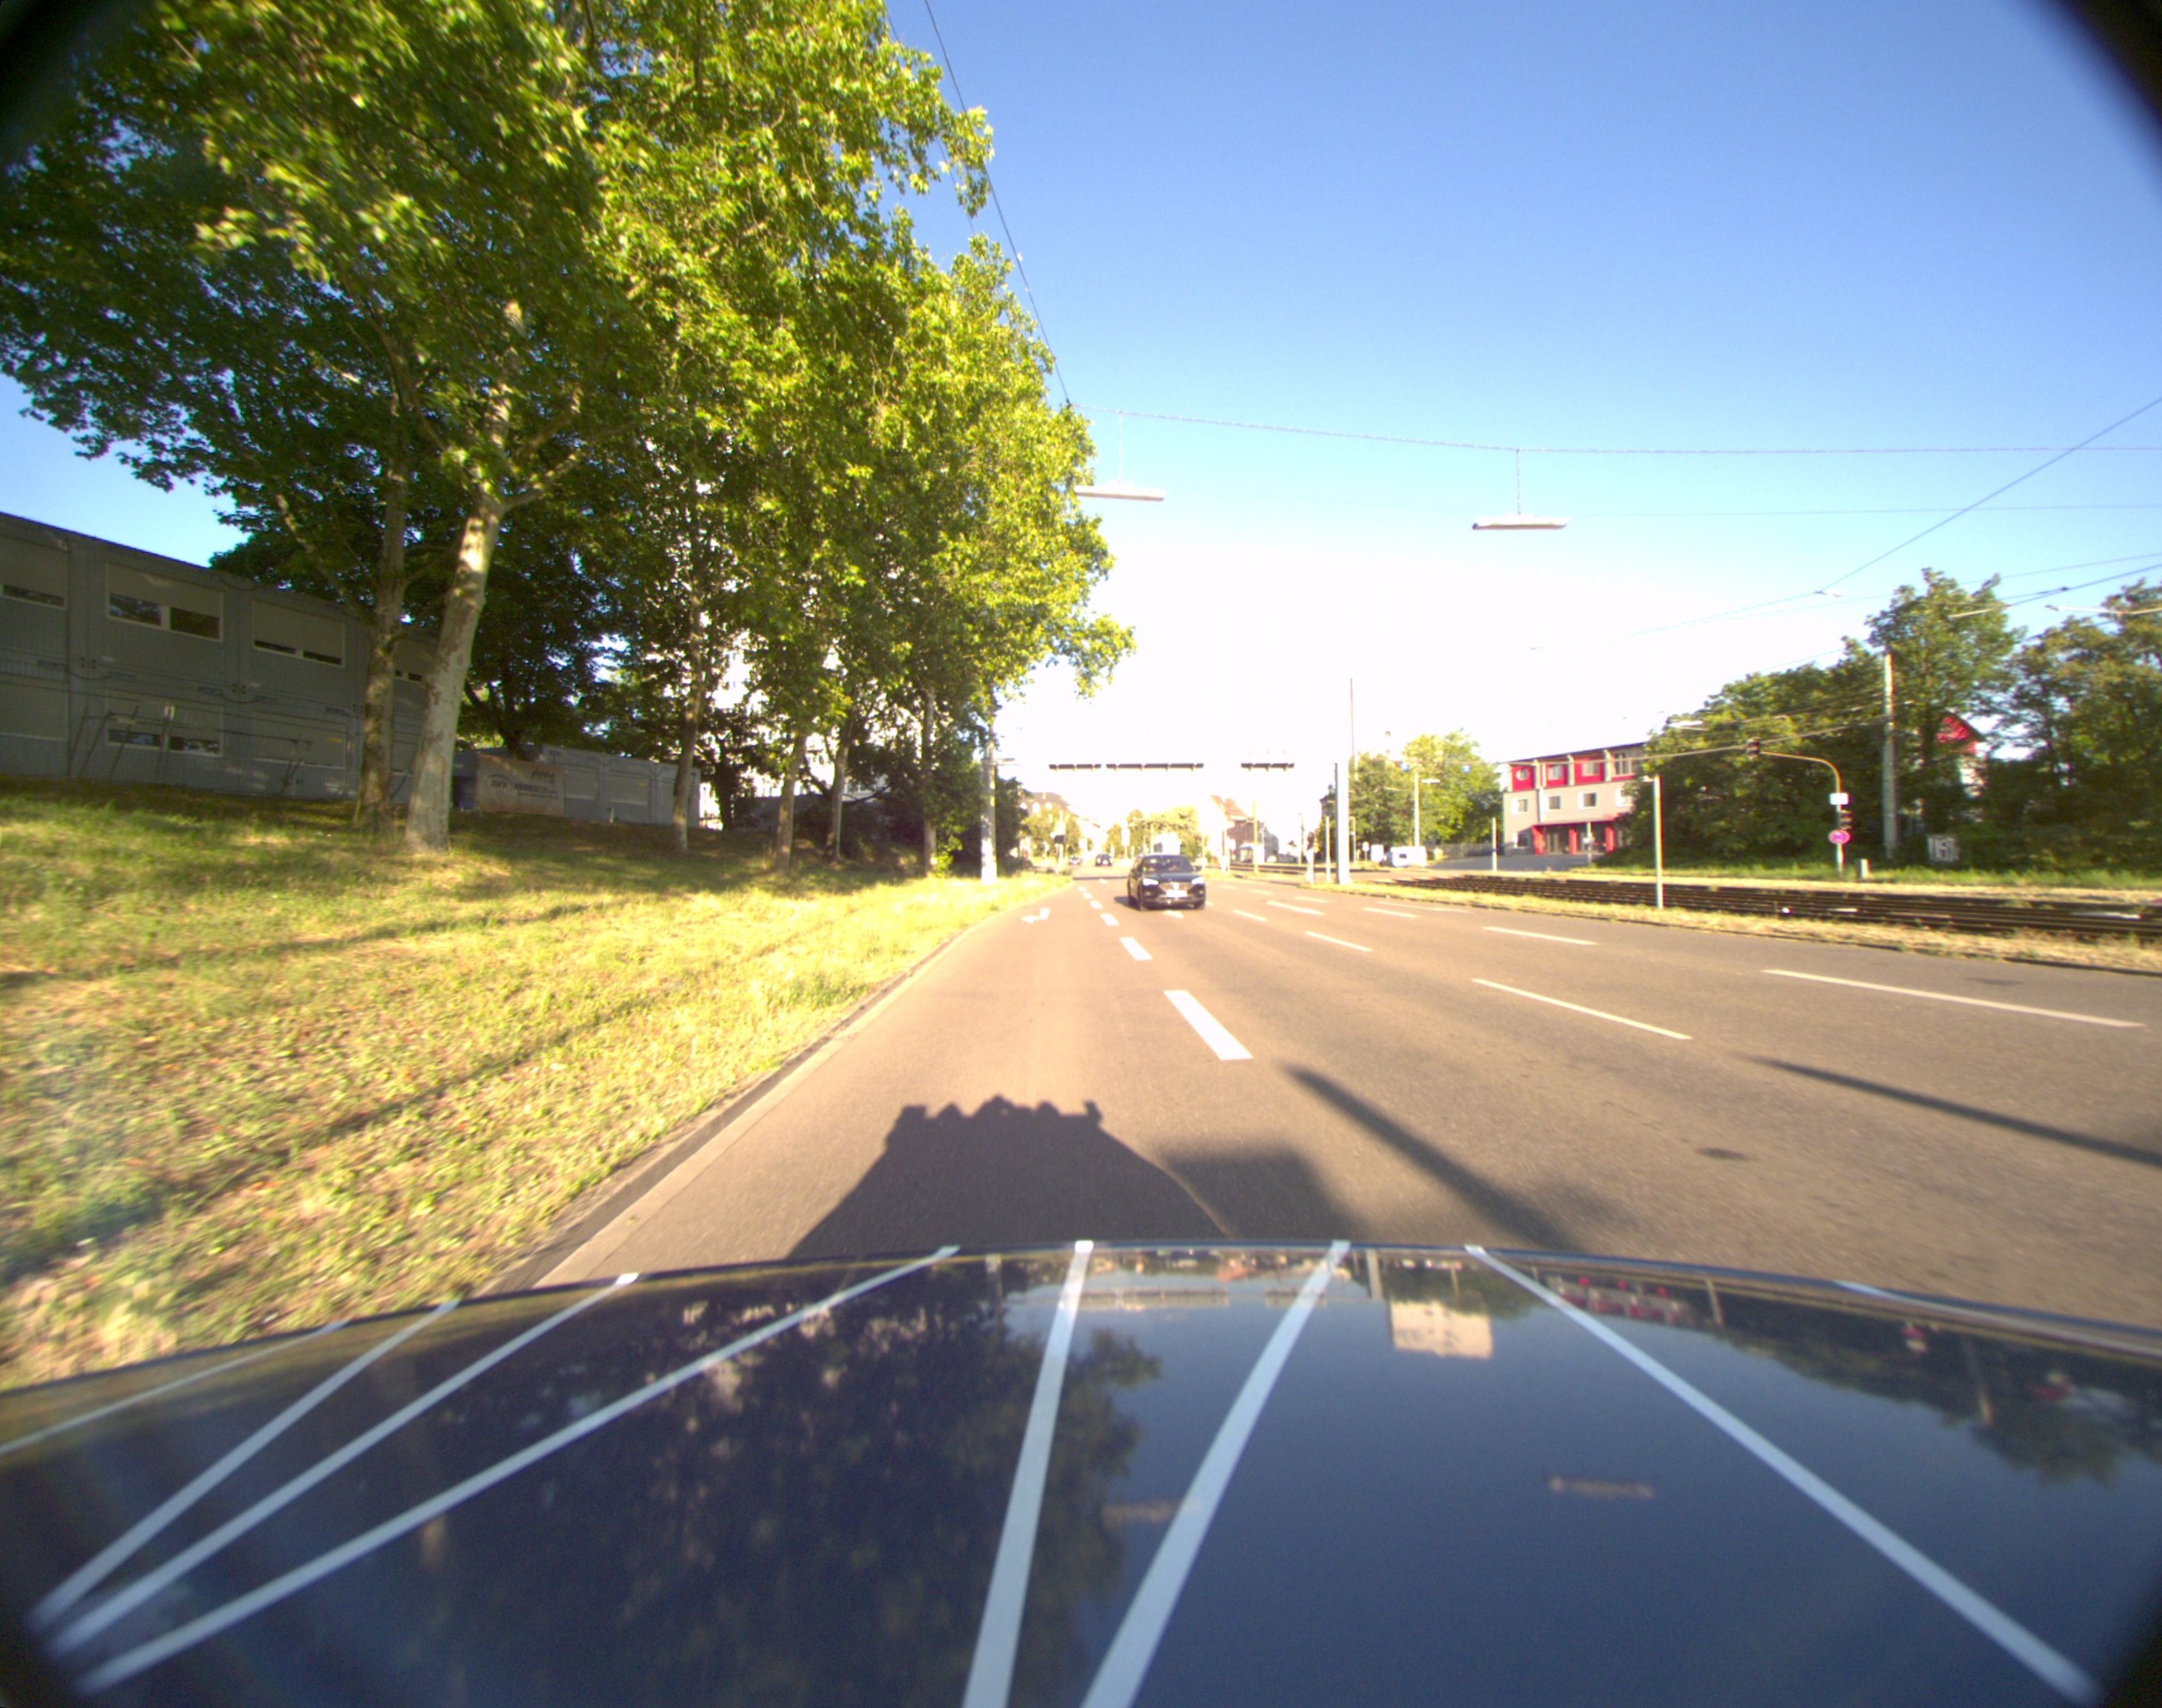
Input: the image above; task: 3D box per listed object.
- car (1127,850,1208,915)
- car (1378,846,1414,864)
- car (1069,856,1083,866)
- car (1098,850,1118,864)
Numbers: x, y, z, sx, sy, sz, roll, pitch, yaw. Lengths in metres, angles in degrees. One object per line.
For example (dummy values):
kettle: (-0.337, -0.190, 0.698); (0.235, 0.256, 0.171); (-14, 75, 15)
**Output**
car: (2.471, 0.755, 22.708); (1.818, 1.670, 4.622); (-1, 1, -1)
car: (32.259, 0.084, 78.010); (1.938, 1.777, 4.259); (-1, -1, 0)
car: (-0.749, 1.014, 108.552); (1.741, 1.429, 3.999); (-2, 0, -3)
car: (3.242, 0.360, 92.723); (1.906, 1.652, 4.275); (-1, 0, -4)
